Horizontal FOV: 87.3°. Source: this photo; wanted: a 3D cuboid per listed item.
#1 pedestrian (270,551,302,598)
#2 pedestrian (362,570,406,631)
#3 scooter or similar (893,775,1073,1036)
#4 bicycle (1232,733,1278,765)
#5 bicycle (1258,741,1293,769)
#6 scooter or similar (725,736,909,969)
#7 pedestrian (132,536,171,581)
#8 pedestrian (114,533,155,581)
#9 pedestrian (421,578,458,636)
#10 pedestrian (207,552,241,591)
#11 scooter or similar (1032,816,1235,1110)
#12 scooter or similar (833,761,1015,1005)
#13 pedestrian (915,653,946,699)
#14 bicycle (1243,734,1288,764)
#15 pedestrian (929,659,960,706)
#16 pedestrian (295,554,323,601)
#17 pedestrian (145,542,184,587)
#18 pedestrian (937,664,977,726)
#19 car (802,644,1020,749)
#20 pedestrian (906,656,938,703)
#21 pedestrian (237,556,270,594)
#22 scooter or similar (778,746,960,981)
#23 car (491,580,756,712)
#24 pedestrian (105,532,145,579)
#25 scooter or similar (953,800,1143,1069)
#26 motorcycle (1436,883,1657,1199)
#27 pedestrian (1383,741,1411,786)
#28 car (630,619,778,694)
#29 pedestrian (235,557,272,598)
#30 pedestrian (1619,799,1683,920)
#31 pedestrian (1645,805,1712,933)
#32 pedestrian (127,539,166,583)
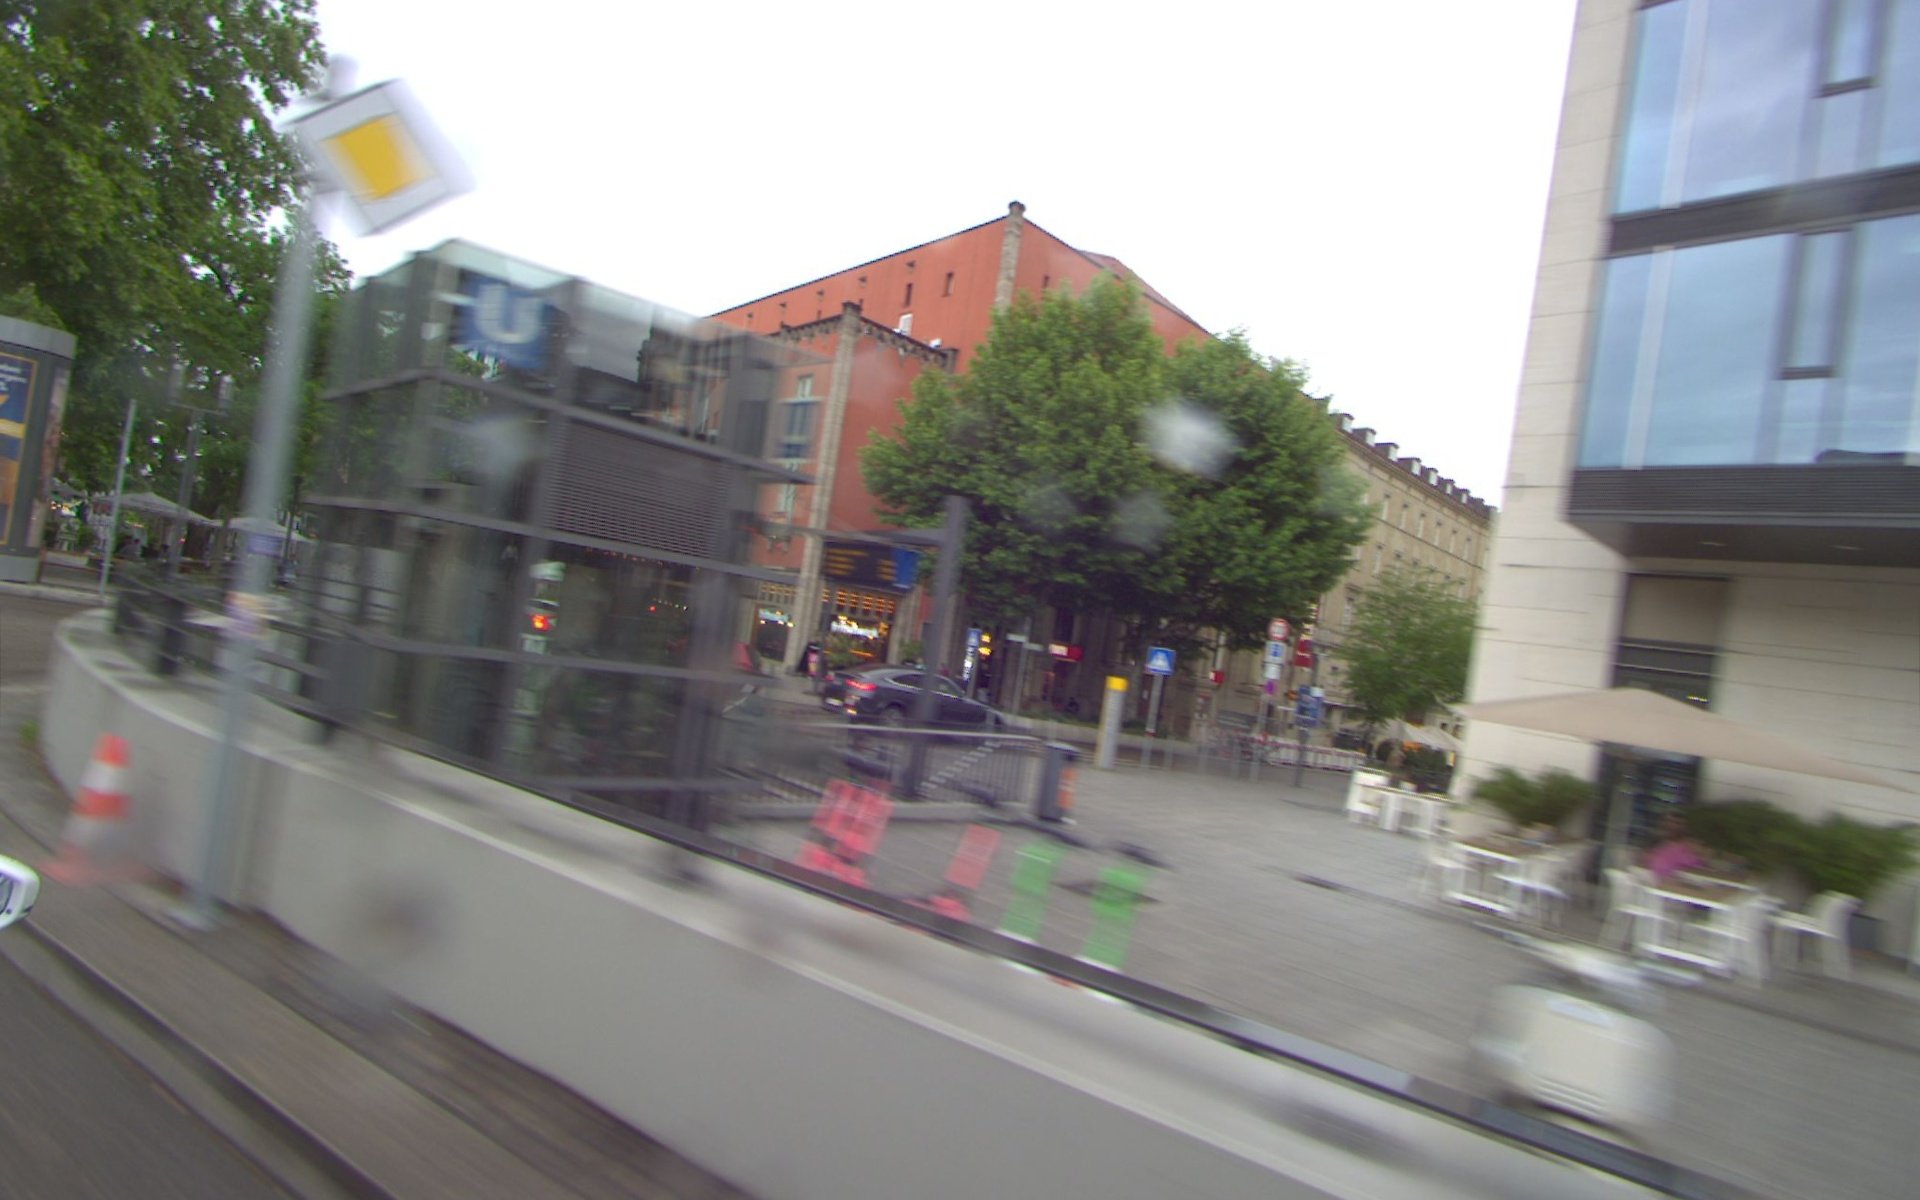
[{"bbox_3d":[-28.194,-1.064,42.095,0.744,1.851,0.602,12,-5,-44],"label":"pedestrian"},{"bbox_3d":[-18.474,0.023,32.260,0.860,1.799,0.693,7,-3,36],"label":"pedestrian"},{"bbox_3d":[0.168,1.663,5.735,0.359,1.250,1.116,8,-3,31],"label":"scooter or similar"},{"bbox_3d":[12.435,6.275,42.421,0.520,0.995,1.734,11,-4,-44],"label":"bicycle"},{"bbox_3d":[13.710,6.721,43.693,0.457,0.995,1.268,11,-4,-44],"label":"bicycle"},{"bbox_3d":[-0.867,1.535,6.363,0.359,1.283,1.116,8,-3,31],"label":"scooter or similar"},{"bbox_3d":[-27.823,-1.425,34.611,0.618,1.426,0.611,7,-4,18],"label":"pedestrian"},{"bbox_3d":[-27.377,-1.422,33.357,0.618,1.426,0.611,7,-4,18],"label":"pedestrian"},{"bbox_3d":[-17.527,0.230,33.875,0.735,1.799,0.591,7,-3,36],"label":"pedestrian"},{"bbox_3d":[-26.469,-1.022,36.189,0.599,1.263,0.630,6,-4,30],"label":"pedestrian"},{"bbox_3d":[0.934,1.785,5.203,0.523,1.171,1.116,8,-3,31],"label":"scooter or similar"},{"bbox_3d":[-0.176,1.602,5.943,0.359,1.229,1.116,8,-3,31],"label":"scooter or similar"},{"bbox_3d":[-1.112,2.885,38.037,0.601,1.614,0.752,7,-4,41],"label":"pedestrian"},{"bbox_3d":[13.203,6.432,43.508,0.520,0.995,1.734,11,-4,-44],"label":"bicycle"},{"bbox_3d":[-0.584,3.080,37.694,0.601,1.614,0.752,7,-4,41],"label":"pedestrian"},{"bbox_3d":[-27.599,-0.953,42.653,0.628,1.851,0.602,12,-5,-44],"label":"pedestrian"},{"bbox_3d":[-25.247,-1.126,31.941,0.599,1.263,0.630,6,-4,30],"label":"pedestrian"},{"bbox_3d":[-0.090,3.011,31.947,0.795,1.828,0.609,7,-3,33],"label":"pedestrian"},{"bbox_3d":[-1.053,2.285,23.432,4.725,1.709,1.981,12,-4,-41],"label":"car"},{"bbox_3d":[-1.382,2.918,36.793,0.601,1.576,0.752,7,-4,41],"label":"pedestrian"},{"bbox_3d":[-26.210,-0.933,37.322,0.599,1.263,0.630,6,-4,30],"label":"pedestrian"},{"bbox_3d":[-0.522,1.553,6.183,0.359,1.248,1.116,8,-3,31],"label":"scooter or similar"},{"bbox_3d":[-6.118,0.907,18.617,1.839,1.636,4.098,5,-7,44],"label":"car"},{"bbox_3d":[-28.114,-1.500,33.877,0.618,1.426,0.611,7,-4,18],"label":"pedestrian"},{"bbox_3d":[0.512,1.735,5.465,0.436,1.171,1.116,8,-3,31],"label":"scooter or similar"},{"bbox_3d":[2.607,2.032,4.522,0.597,1.170,1.782,8,-3,31],"label":"motorcycle"},{"bbox_3d":[21.412,8.002,49.301,0.767,2.035,0.778,7,-3,44],"label":"pedestrian"},{"bbox_3d":[-7.048,1.588,27.929,3.463,1.430,1.618,9,-4,5],"label":"car"},{"bbox_3d":[-23.856,-0.765,33.976,0.599,1.263,0.630,6,-4,30],"label":"pedestrian"},{"bbox_3d":[8.844,3.303,12.875,0.433,1.419,0.472,9,-2,-42],"label":"pedestrian"},{"bbox_3d":[8.771,3.265,12.281,0.433,1.419,0.472,9,-2,-42],"label":"pedestrian"},{"bbox_3d":[-26.063,-1.252,32.222,0.599,1.263,0.630,6,-4,30],"label":"pedestrian"}]
